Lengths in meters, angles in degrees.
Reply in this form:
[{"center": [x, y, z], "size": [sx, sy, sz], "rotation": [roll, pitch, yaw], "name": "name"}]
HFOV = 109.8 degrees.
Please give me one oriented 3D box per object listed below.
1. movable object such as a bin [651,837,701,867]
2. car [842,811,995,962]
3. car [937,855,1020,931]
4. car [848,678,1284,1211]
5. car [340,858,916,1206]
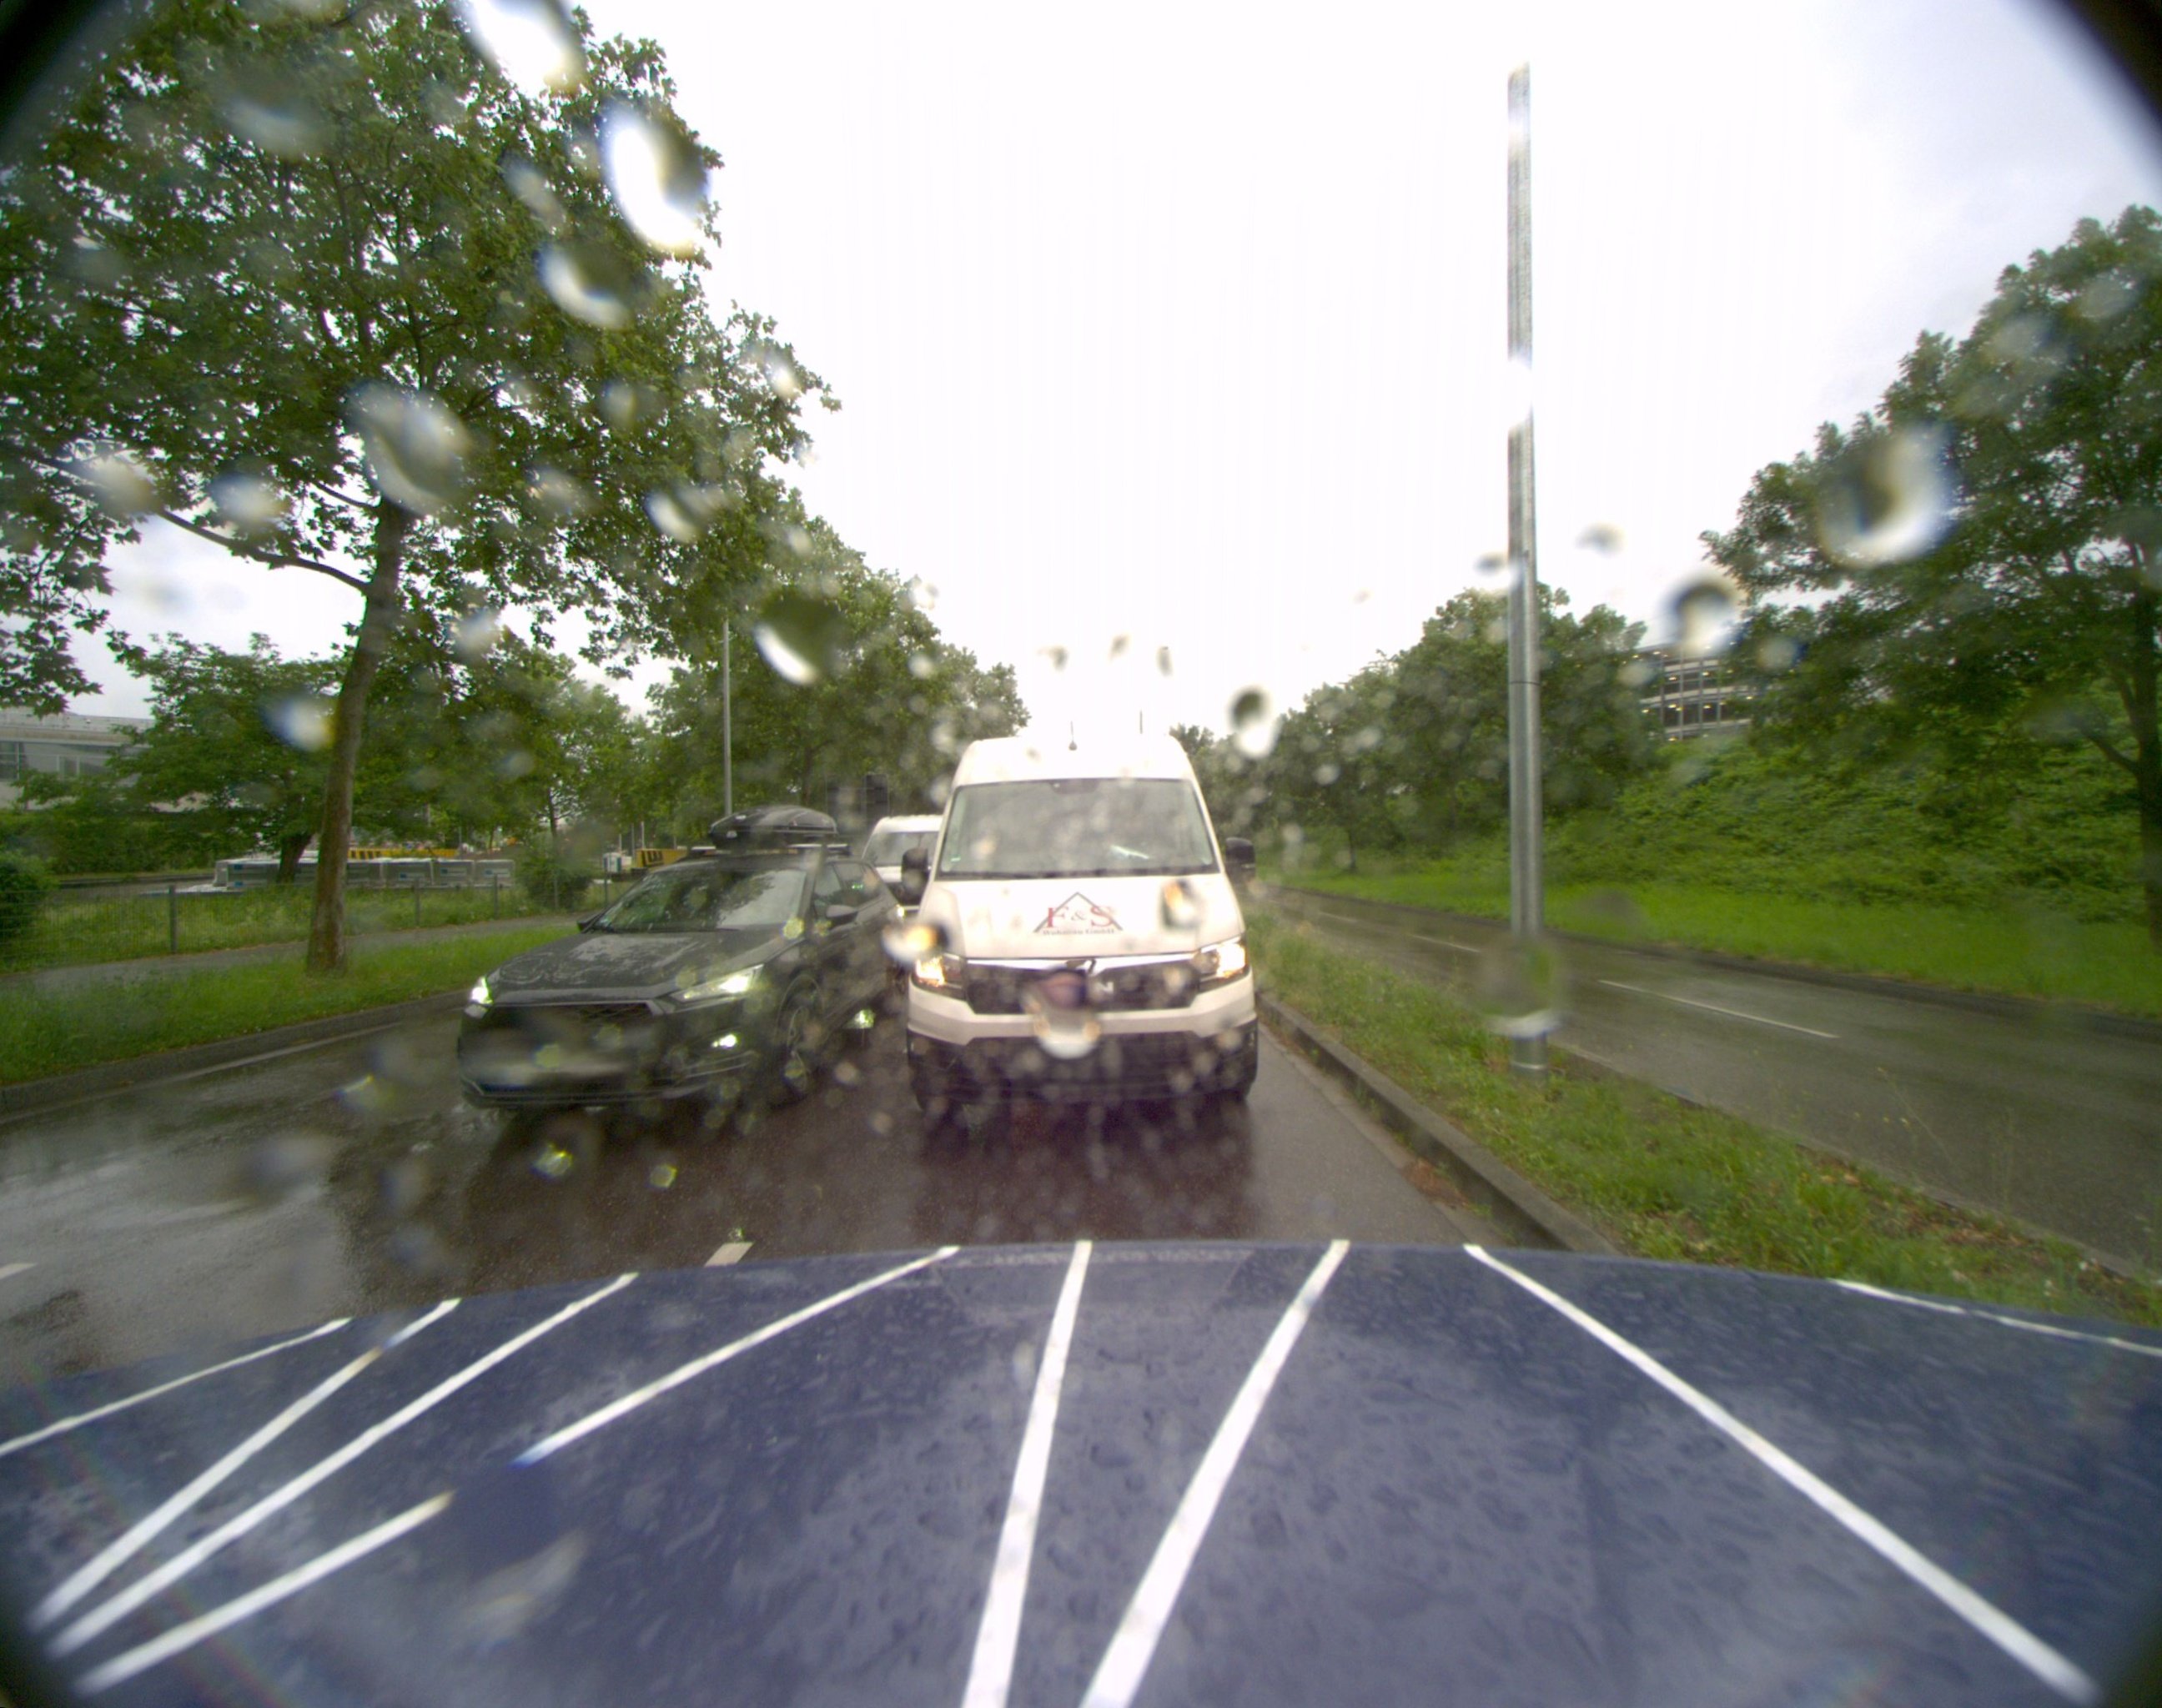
[{"center": [-47.773, -0.262, 89.677], "size": [4.946, 3.415, 1.913], "rotation": [-3, 1, -34], "name": "movable object such as a bin"}, {"center": [-2.948, 0.521, 15.046], "size": [1.894, 2.432, 5.317], "rotation": [-1, 0, -1], "name": "car"}, {"center": [-2.803, 0.999, 21.784], "size": [1.807, 1.902, 4.546], "rotation": [-1, 0, -1], "name": "car"}, {"center": [-0.117, 0.422, 6.459], "size": [2.027, 2.498, 5.695], "rotation": [-1, 0, -1], "name": "car"}, {"center": [-2.751, 0.906, 6.034], "size": [1.894, 1.688, 4.423], "rotation": [-1, 0, 0], "name": "car"}]
